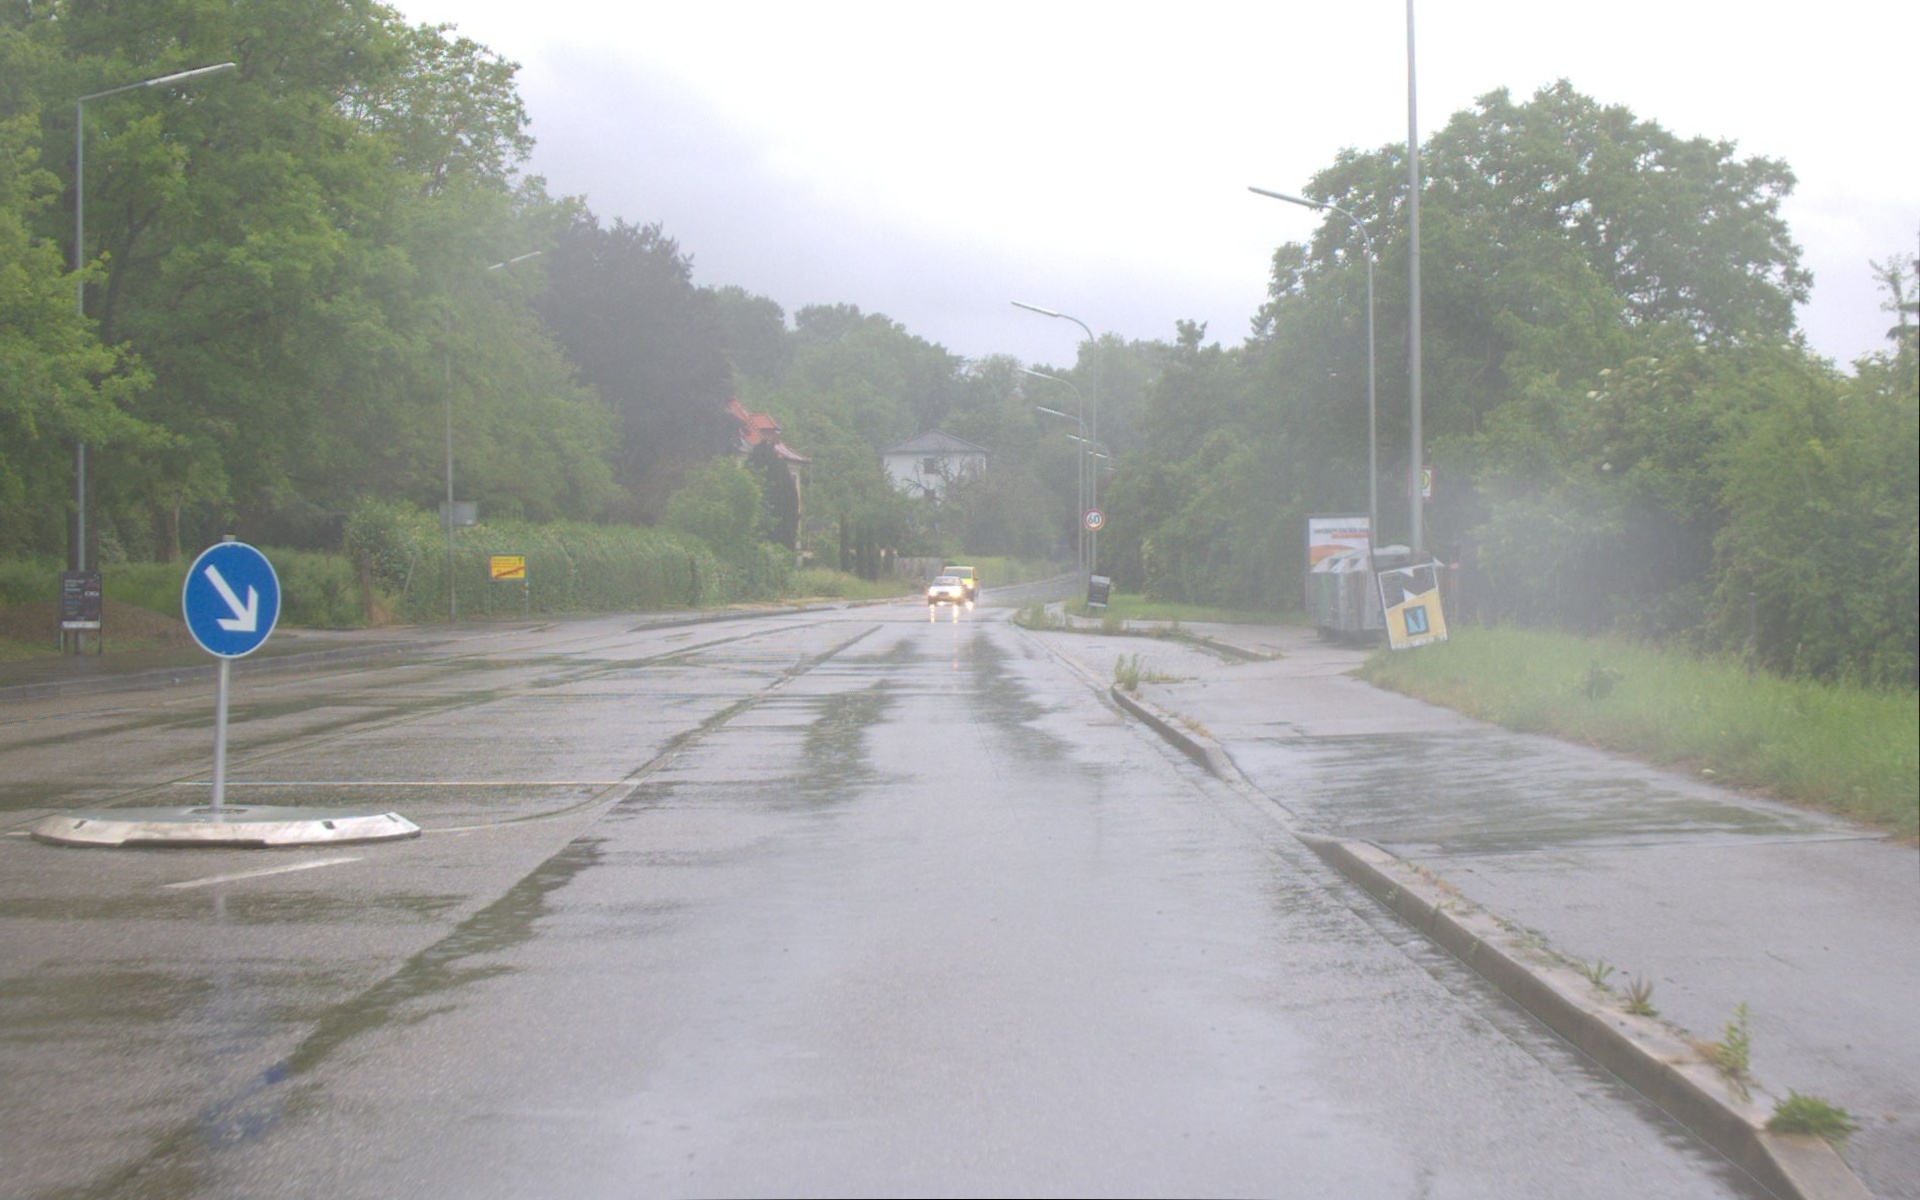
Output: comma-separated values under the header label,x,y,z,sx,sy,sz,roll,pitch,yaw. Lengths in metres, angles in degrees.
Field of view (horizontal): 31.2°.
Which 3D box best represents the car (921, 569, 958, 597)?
label,x,y,z,sx,sy,sz,roll,pitch,yaw
car,-1.002,-0.853,170.198,1.701,1.345,3.905,0,1,1
